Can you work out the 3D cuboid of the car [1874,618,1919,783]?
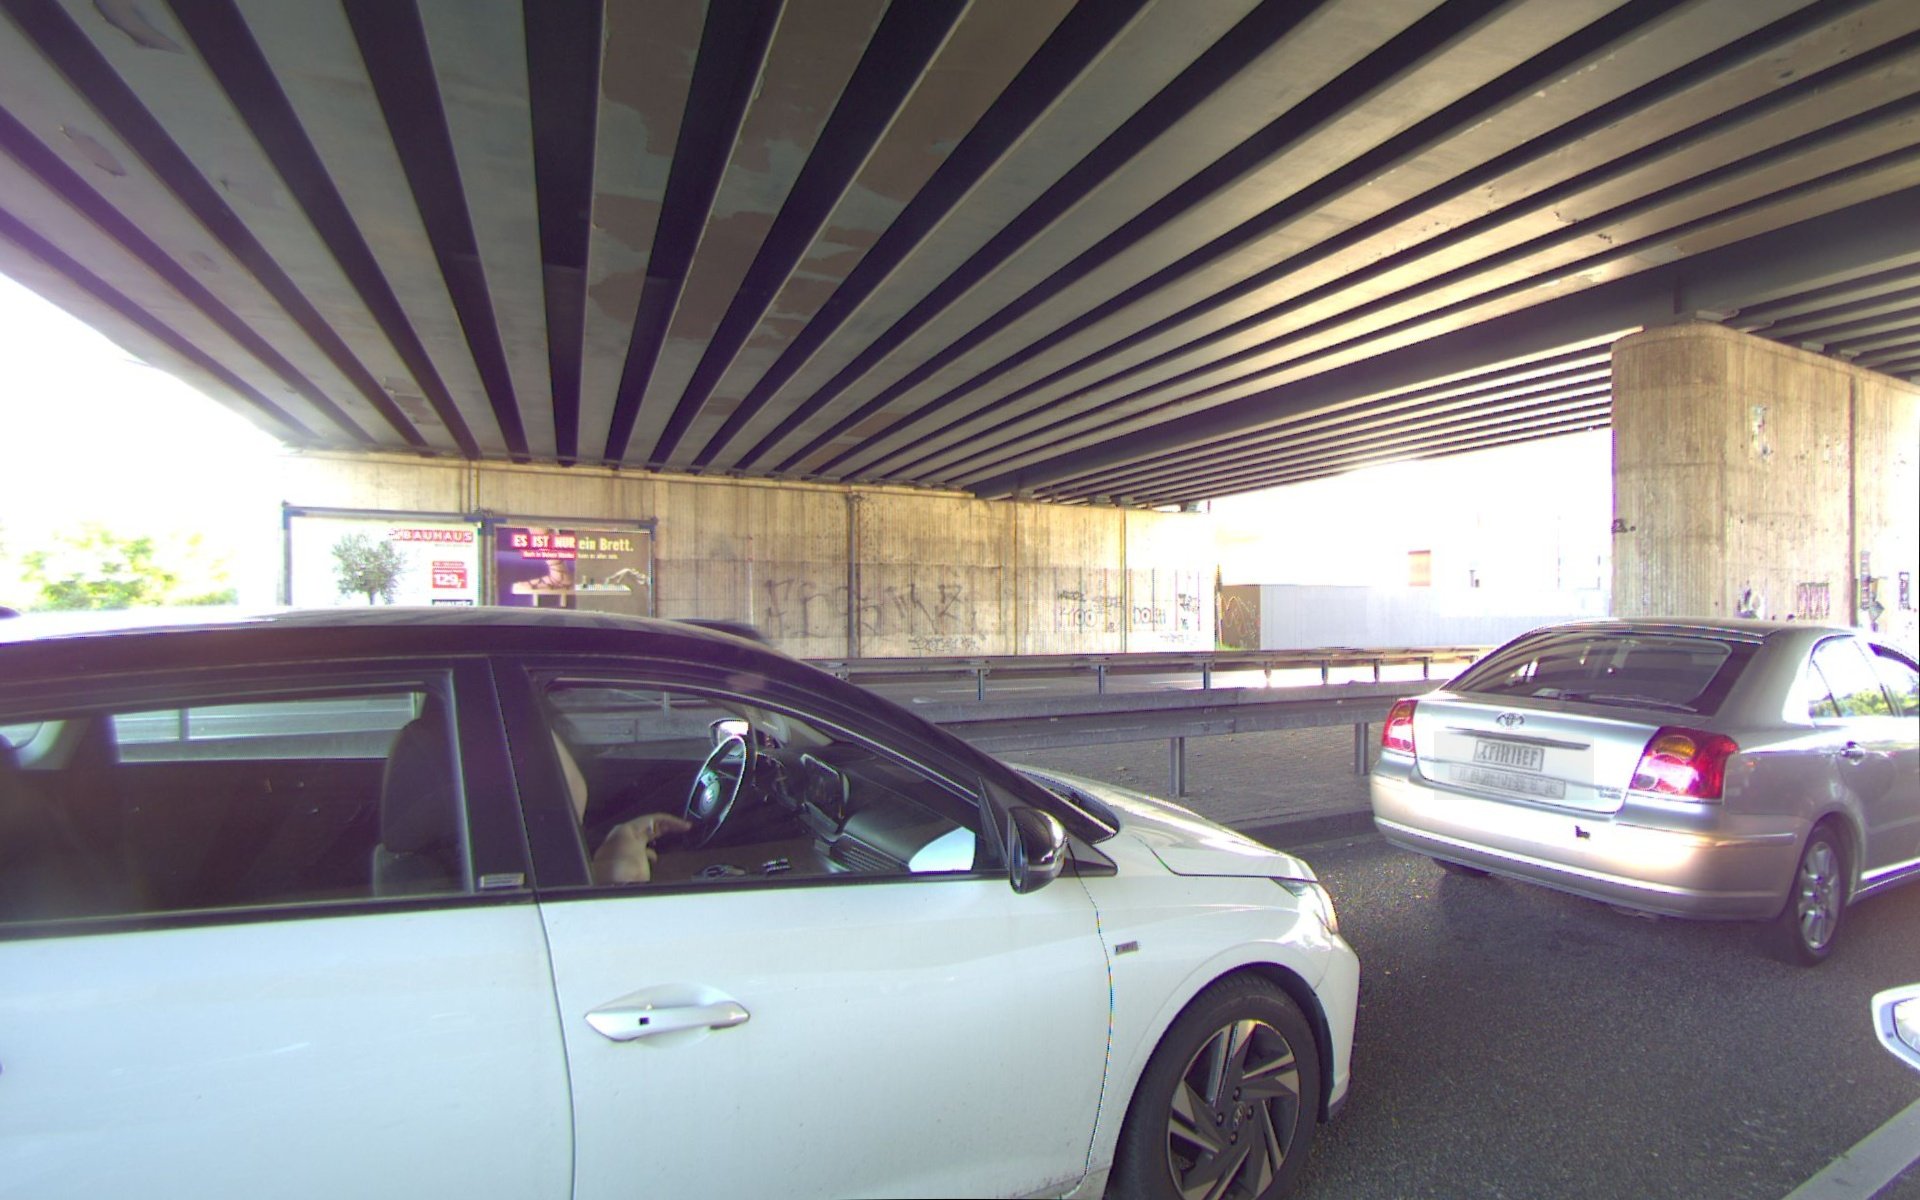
[{"bbox_3d":[10.402,0.909,9.381,3.688,1.457,1.804,0,0,-31],"label":"car"}]

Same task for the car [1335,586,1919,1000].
[{"bbox_3d":[4.172,0.745,5.509,4.270,1.499,1.724,1,-1,-32],"label":"car"}]

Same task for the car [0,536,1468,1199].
[{"bbox_3d":[-0.770,0.699,2.371,3.946,1.499,1.724,1,-1,-32],"label":"car"}]

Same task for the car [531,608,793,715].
[{"bbox_3d":[-4.765,0.907,16.185,3.782,1.540,1.610,0,-1,-32],"label":"car"}]
